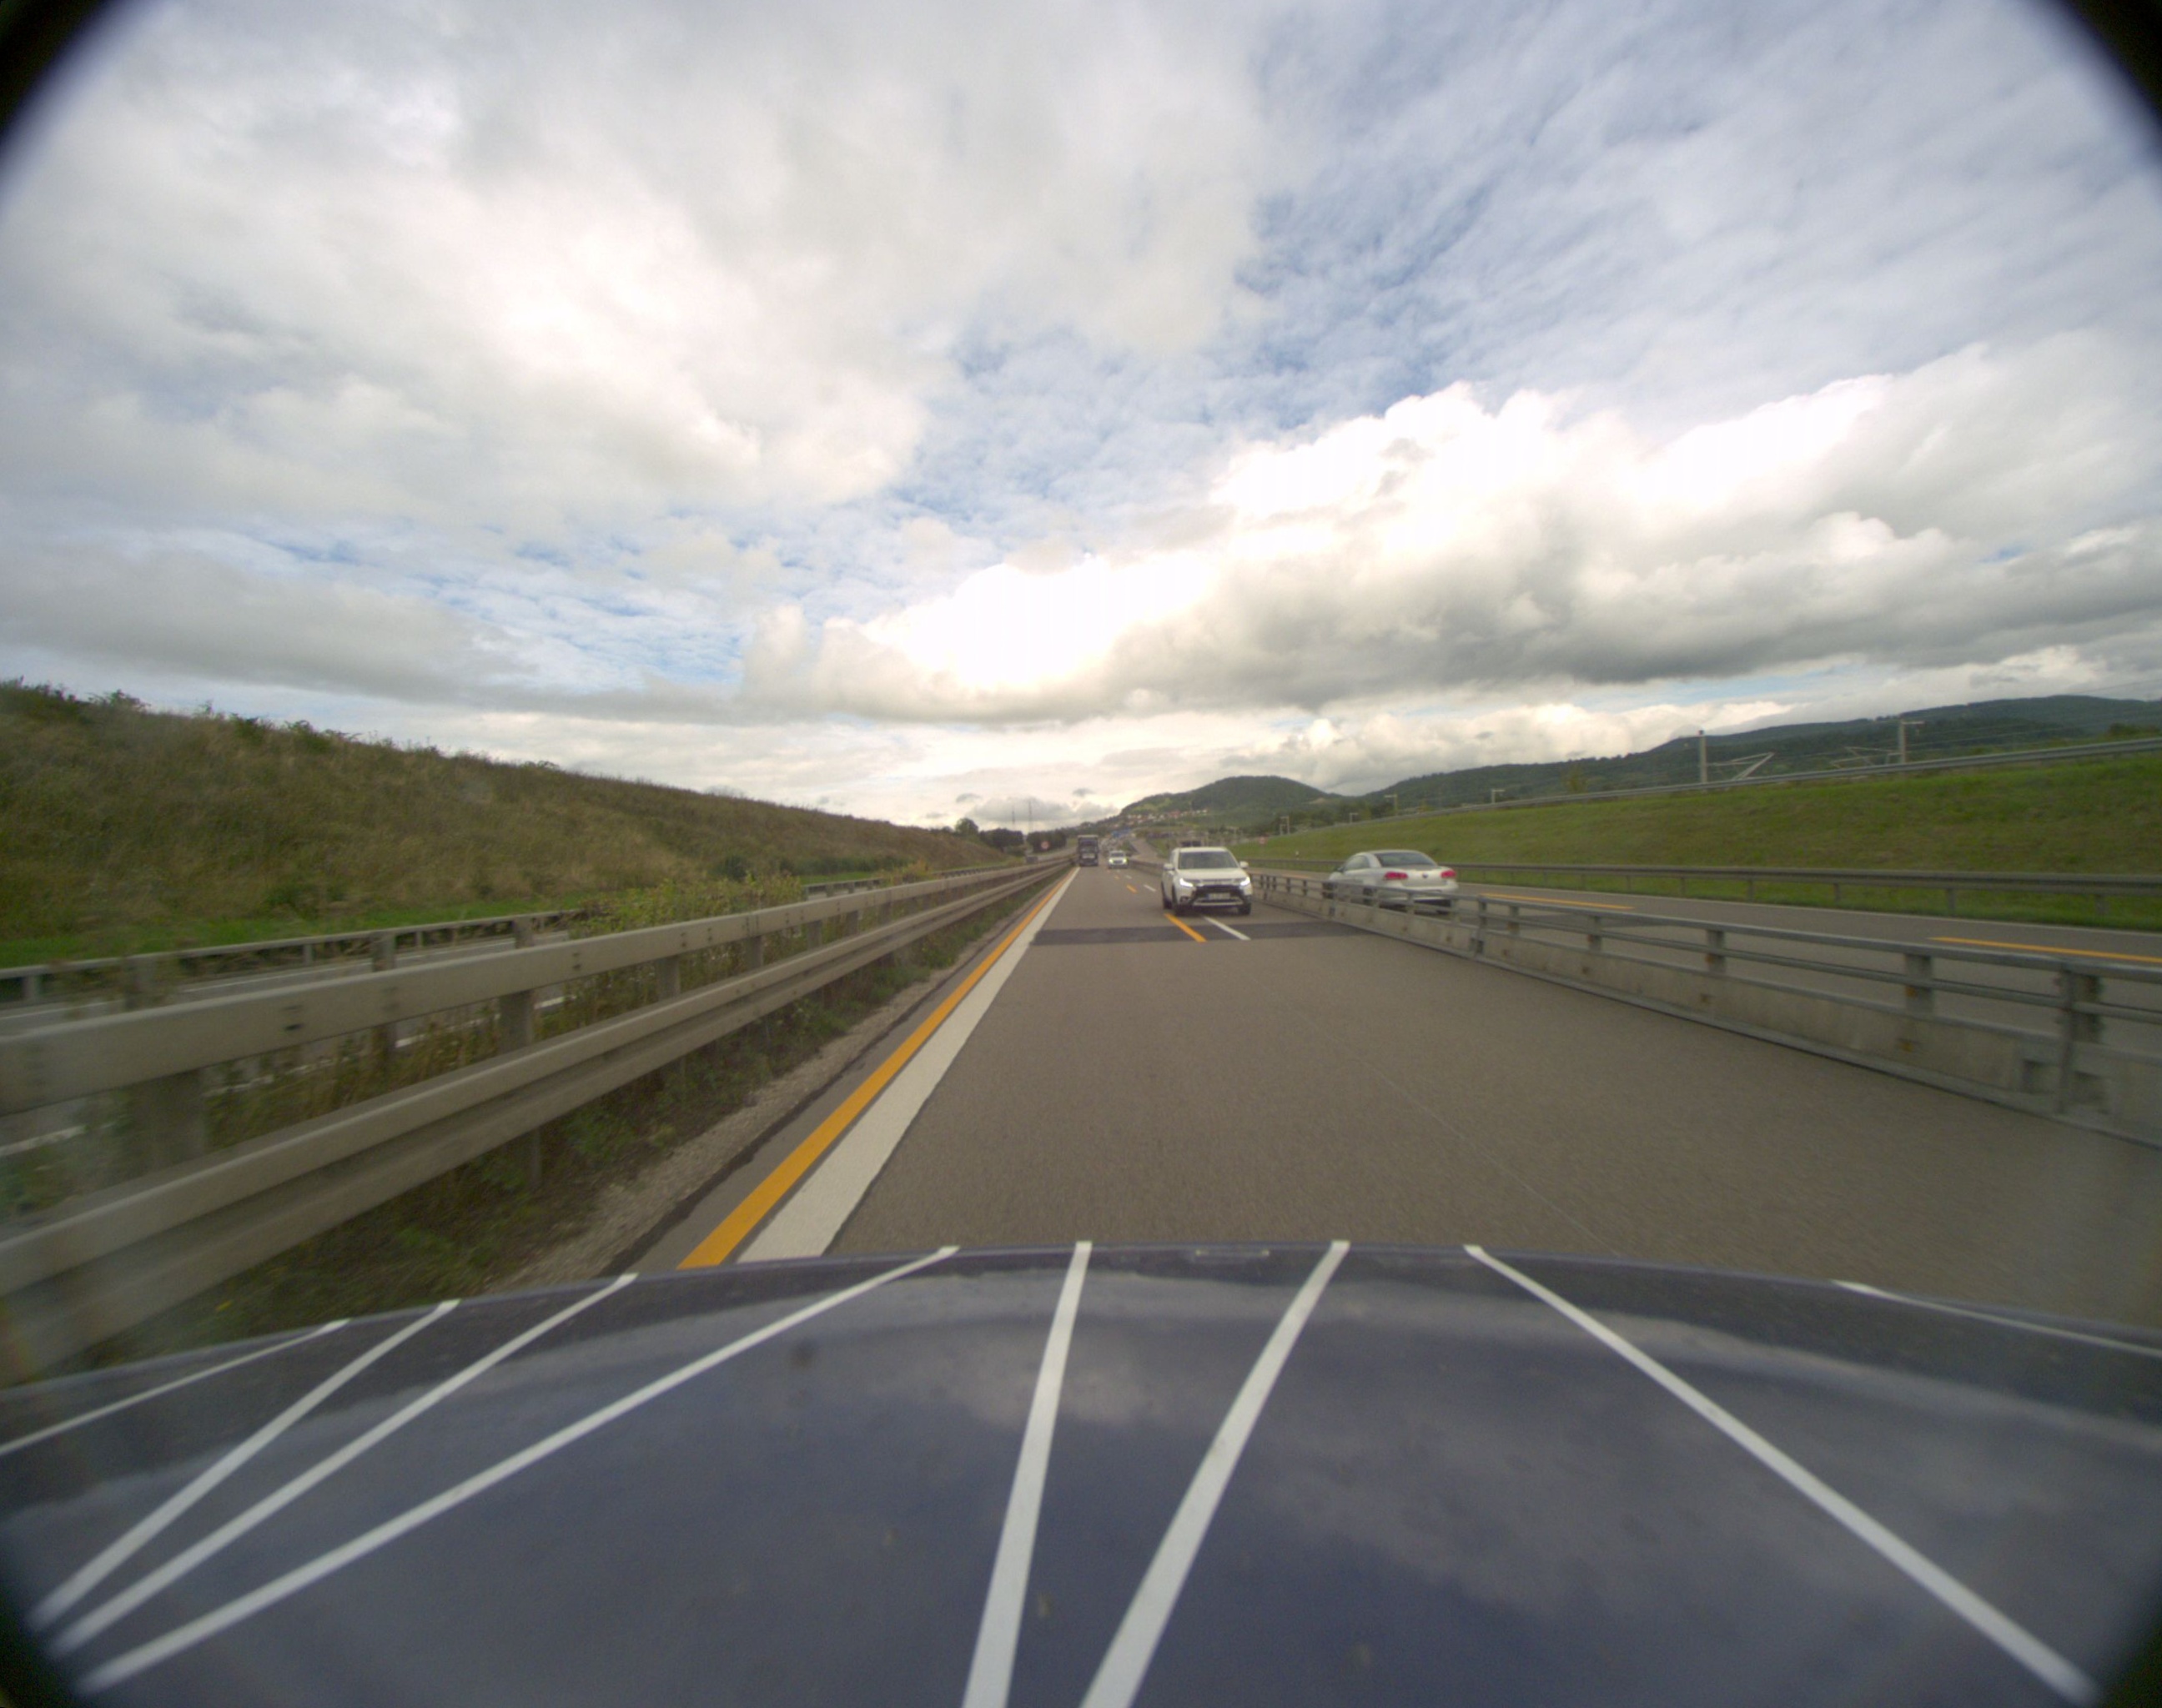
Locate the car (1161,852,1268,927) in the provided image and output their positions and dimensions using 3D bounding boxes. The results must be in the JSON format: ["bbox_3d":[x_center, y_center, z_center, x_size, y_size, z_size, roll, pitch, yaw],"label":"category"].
[{"bbox_3d":[3.207,0.790,19.209,1.998,1.618,4.607,-1,0,2],"label":"car"}]

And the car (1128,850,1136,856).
[{"bbox_3d":[13.612,-0.184,203.745,1.792,1.507,4.135,-1,1,1],"label":"car"}]

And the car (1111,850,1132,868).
[{"bbox_3d":[4.294,0.548,81.570,1.990,1.787,4.586,-2,0,1],"label":"car"}]

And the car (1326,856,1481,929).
[{"bbox_3d":[7.048,0.768,17.086,1.762,1.380,4.000,-2,0,0],"label":"car"}]

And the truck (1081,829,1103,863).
[{"bbox_3d":[1.450,-1.015,96.410,2.521,4.081,5.685,-2,1,1],"label":"truck"}]

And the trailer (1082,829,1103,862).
[{"bbox_3d":[1.569,-1.072,101.441,2.521,4.081,11.113,-2,0,1],"label":"trailer"}]

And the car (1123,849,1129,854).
[{"bbox_3d":[14.166,-0.724,238.906,1.894,1.517,4.182,-2,0,1],"label":"car"}]
